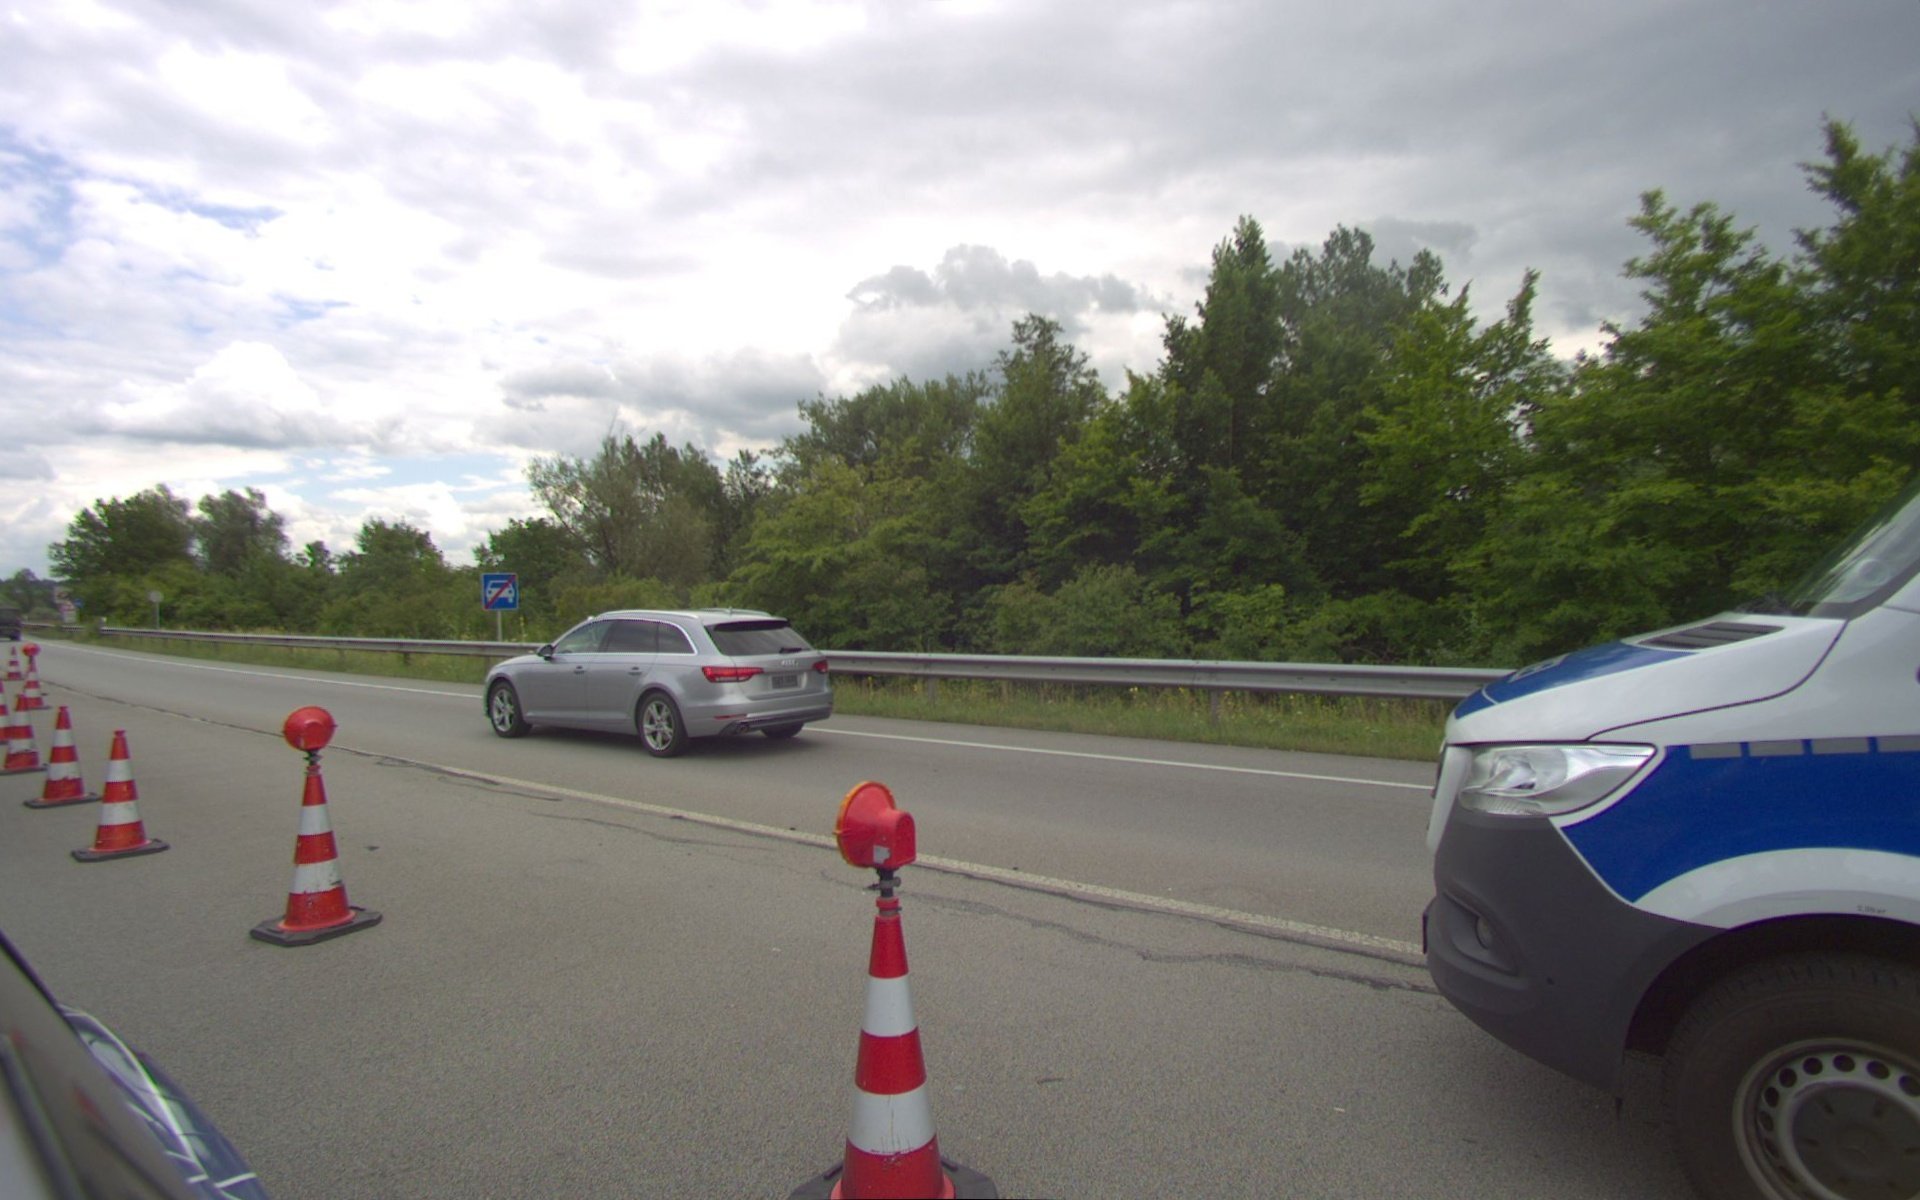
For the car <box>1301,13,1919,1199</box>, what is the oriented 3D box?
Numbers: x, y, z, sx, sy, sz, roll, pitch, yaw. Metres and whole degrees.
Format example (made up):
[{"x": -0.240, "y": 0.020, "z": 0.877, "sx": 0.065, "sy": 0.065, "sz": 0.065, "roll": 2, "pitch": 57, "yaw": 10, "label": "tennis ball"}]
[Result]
[{"x": 3.572, "y": 0.124, "z": 1.760, "sx": 5.271, "sy": 2.482, "sz": 2.010, "roll": -1, "pitch": -1, "yaw": 38, "label": "car"}]

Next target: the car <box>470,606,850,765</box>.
[{"x": -3.388, "y": 0.808, "z": 11.049, "sx": 4.365, "sy": 1.412, "sz": 1.664, "roll": -1, "pitch": -1, "yaw": 36, "label": "car"}]

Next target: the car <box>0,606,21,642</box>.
[{"x": -55.774, "y": 1.387, "z": 58.370, "sx": 5.316, "sy": 2.002, "sz": 2.007, "roll": -1, "pitch": -1, "yaw": 43, "label": "car"}]
